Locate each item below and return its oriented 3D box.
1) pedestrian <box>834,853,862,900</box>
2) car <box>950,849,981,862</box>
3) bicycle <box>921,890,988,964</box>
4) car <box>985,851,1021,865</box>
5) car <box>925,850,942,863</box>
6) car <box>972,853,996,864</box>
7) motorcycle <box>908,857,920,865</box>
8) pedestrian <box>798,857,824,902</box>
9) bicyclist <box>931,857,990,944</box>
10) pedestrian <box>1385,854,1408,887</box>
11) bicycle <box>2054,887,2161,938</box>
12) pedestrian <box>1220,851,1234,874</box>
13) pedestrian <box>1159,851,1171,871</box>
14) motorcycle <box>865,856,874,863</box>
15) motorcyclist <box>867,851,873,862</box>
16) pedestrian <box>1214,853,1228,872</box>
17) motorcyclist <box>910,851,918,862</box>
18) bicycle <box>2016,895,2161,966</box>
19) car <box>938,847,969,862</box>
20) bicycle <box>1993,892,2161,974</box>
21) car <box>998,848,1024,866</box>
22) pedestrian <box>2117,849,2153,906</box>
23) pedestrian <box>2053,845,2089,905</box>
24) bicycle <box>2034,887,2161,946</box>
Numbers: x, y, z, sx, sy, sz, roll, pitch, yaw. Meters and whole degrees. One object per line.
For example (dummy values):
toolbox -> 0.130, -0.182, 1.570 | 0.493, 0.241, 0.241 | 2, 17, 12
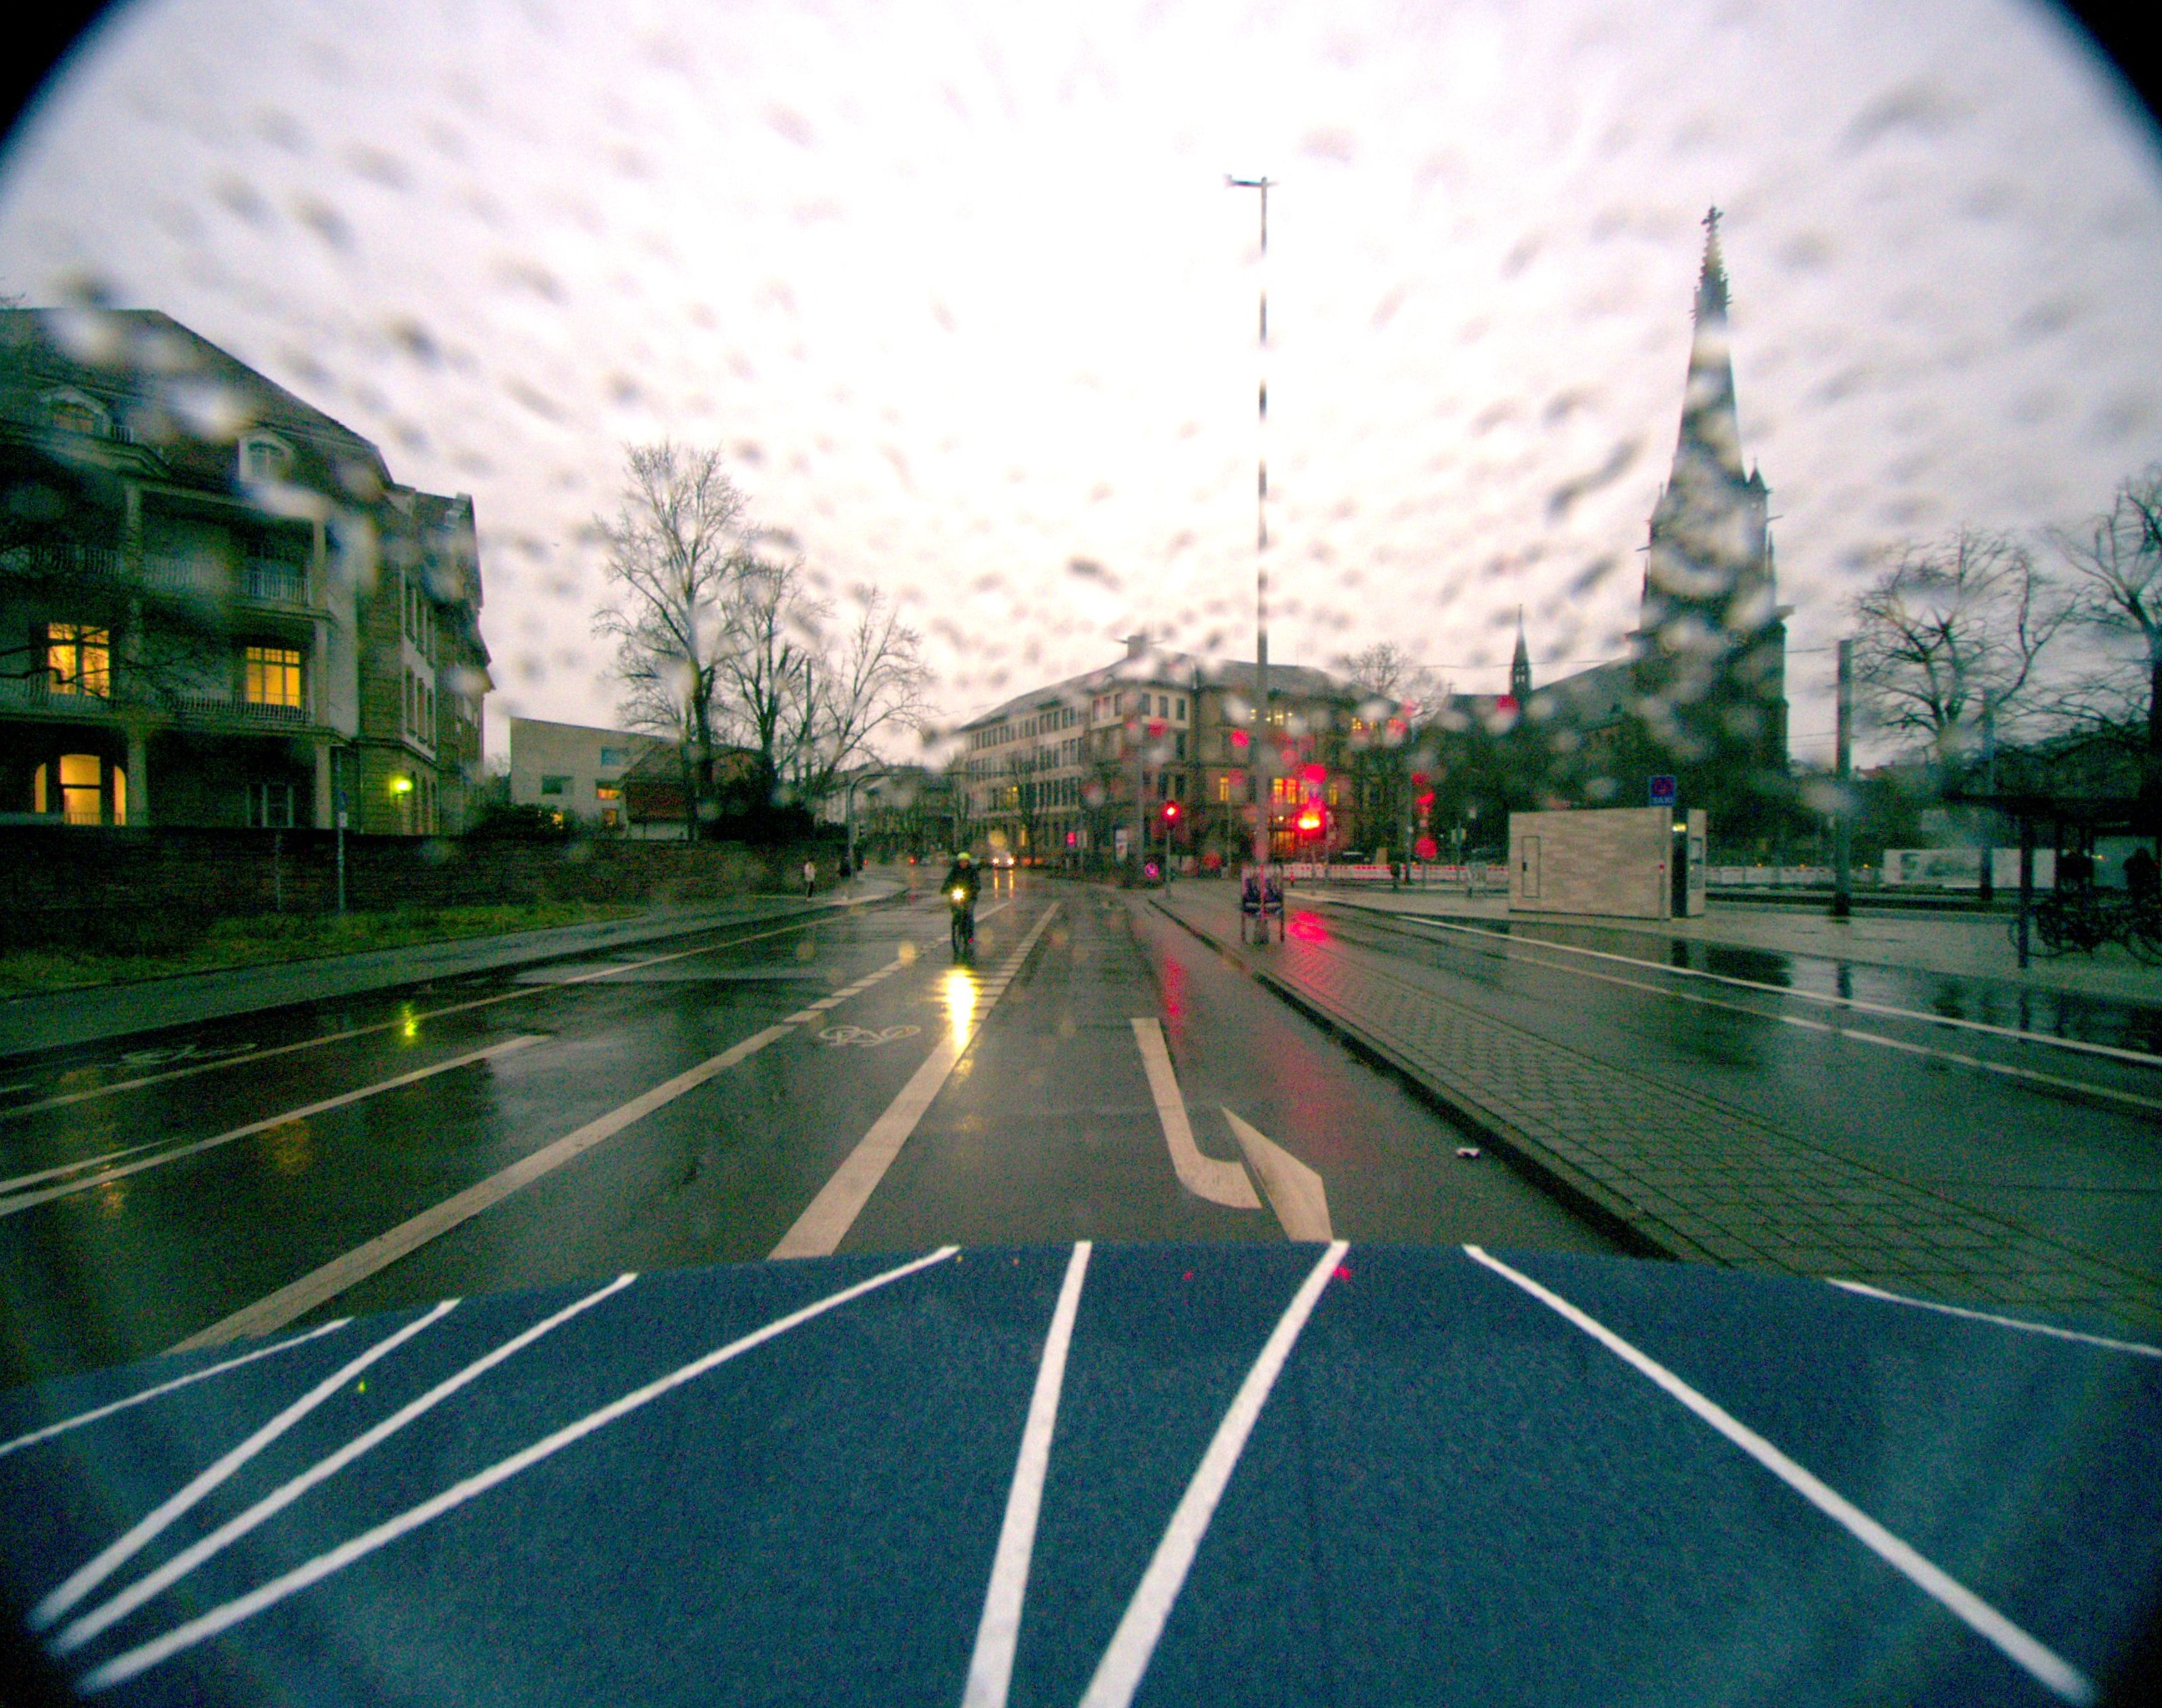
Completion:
pedestrian -> -9.553, 0.933, 31.141 | 1.000, 1.890, 0.673 | 1, 1, -8
car -> -15.093, 0.194, 99.406 | 1.797, 1.541, 4.007 | -2, 1, 28
bicycle -> -2.199, 1.243, 13.468 | 0.785, 1.069, 1.957 | -2, 1, 1
car -> -9.281, 0.476, 90.536 | 1.797, 1.541, 4.007 | -1, 1, 45
car -> -20.737, 0.365, 106.846 | 2.000, 1.660, 3.997 | -2, 1, -7
car -> -12.136, 0.570, 95.307 | 1.706, 1.298, 3.647 | -2, 1, 16
motorcycle -> -21.154, 0.868, 96.315 | 0.714, 1.048, 2.162 | 0, 0, -34
pedestrian -> -10.590, 0.988, 29.799 | 0.799, 1.713, 0.673 | 1, 1, -7
bicyclist -> -2.125, 0.802, 13.537 | 0.785, 1.444, 1.134 | -2, 1, 1
pedestrian -> 16.386, 0.842, 39.422 | 0.771, 1.651, 1.210 | -1, 1, 36
bicycle -> 20.847, 1.162, 15.017 | 0.475, 0.905, 1.921 | -2, 2, -30
pedestrian -> 12.157, 0.734, 63.263 | 0.675, 1.890, 0.971 | 0, 1, -37
pedestrian -> 7.694, 0.656, 69.431 | 0.675, 1.806, 0.896 | 0, 1, -28
motorcycle -> -32.337, 0.848, 116.241 | 0.727, 1.048, 2.162 | 0, 0, -33
motorcyclist -> -32.280, 0.323, 116.154 | 0.712, 1.707, 0.740 | 0, 0, -33
pedestrian -> 12.268, 0.737, 66.725 | 0.829, 1.714, 0.926 | 0, 0, -26
motorcyclist -> -21.139, 0.325, 96.297 | 0.702, 1.375, 0.864 | 0, 0, -34
bicycle -> 16.616, 1.215, 12.216 | 0.475, 0.980, 1.921 | -2, 2, -30
car -> -16.997, 0.070, 101.471 | 2.043, 1.889, 4.007 | -2, 1, 28
bicycle -> 15.497, 1.182, 11.611 | 0.475, 1.064, 1.921 | -2, 2, -30
car -> -7.644, 0.321, 83.451 | 1.881, 1.835, 4.002 | -2, 1, 10
pedestrian -> 31.047, 0.693, 22.387 | 0.541, 1.642, 0.562 | -3, 2, -41
pedestrian -> 30.234, 0.644, 23.215 | 0.673, 1.785, 0.626 | -3, 2, -41
bicycle -> 19.691, 1.170, 14.427 | 0.475, 0.980, 1.921 | -2, 2, -30
